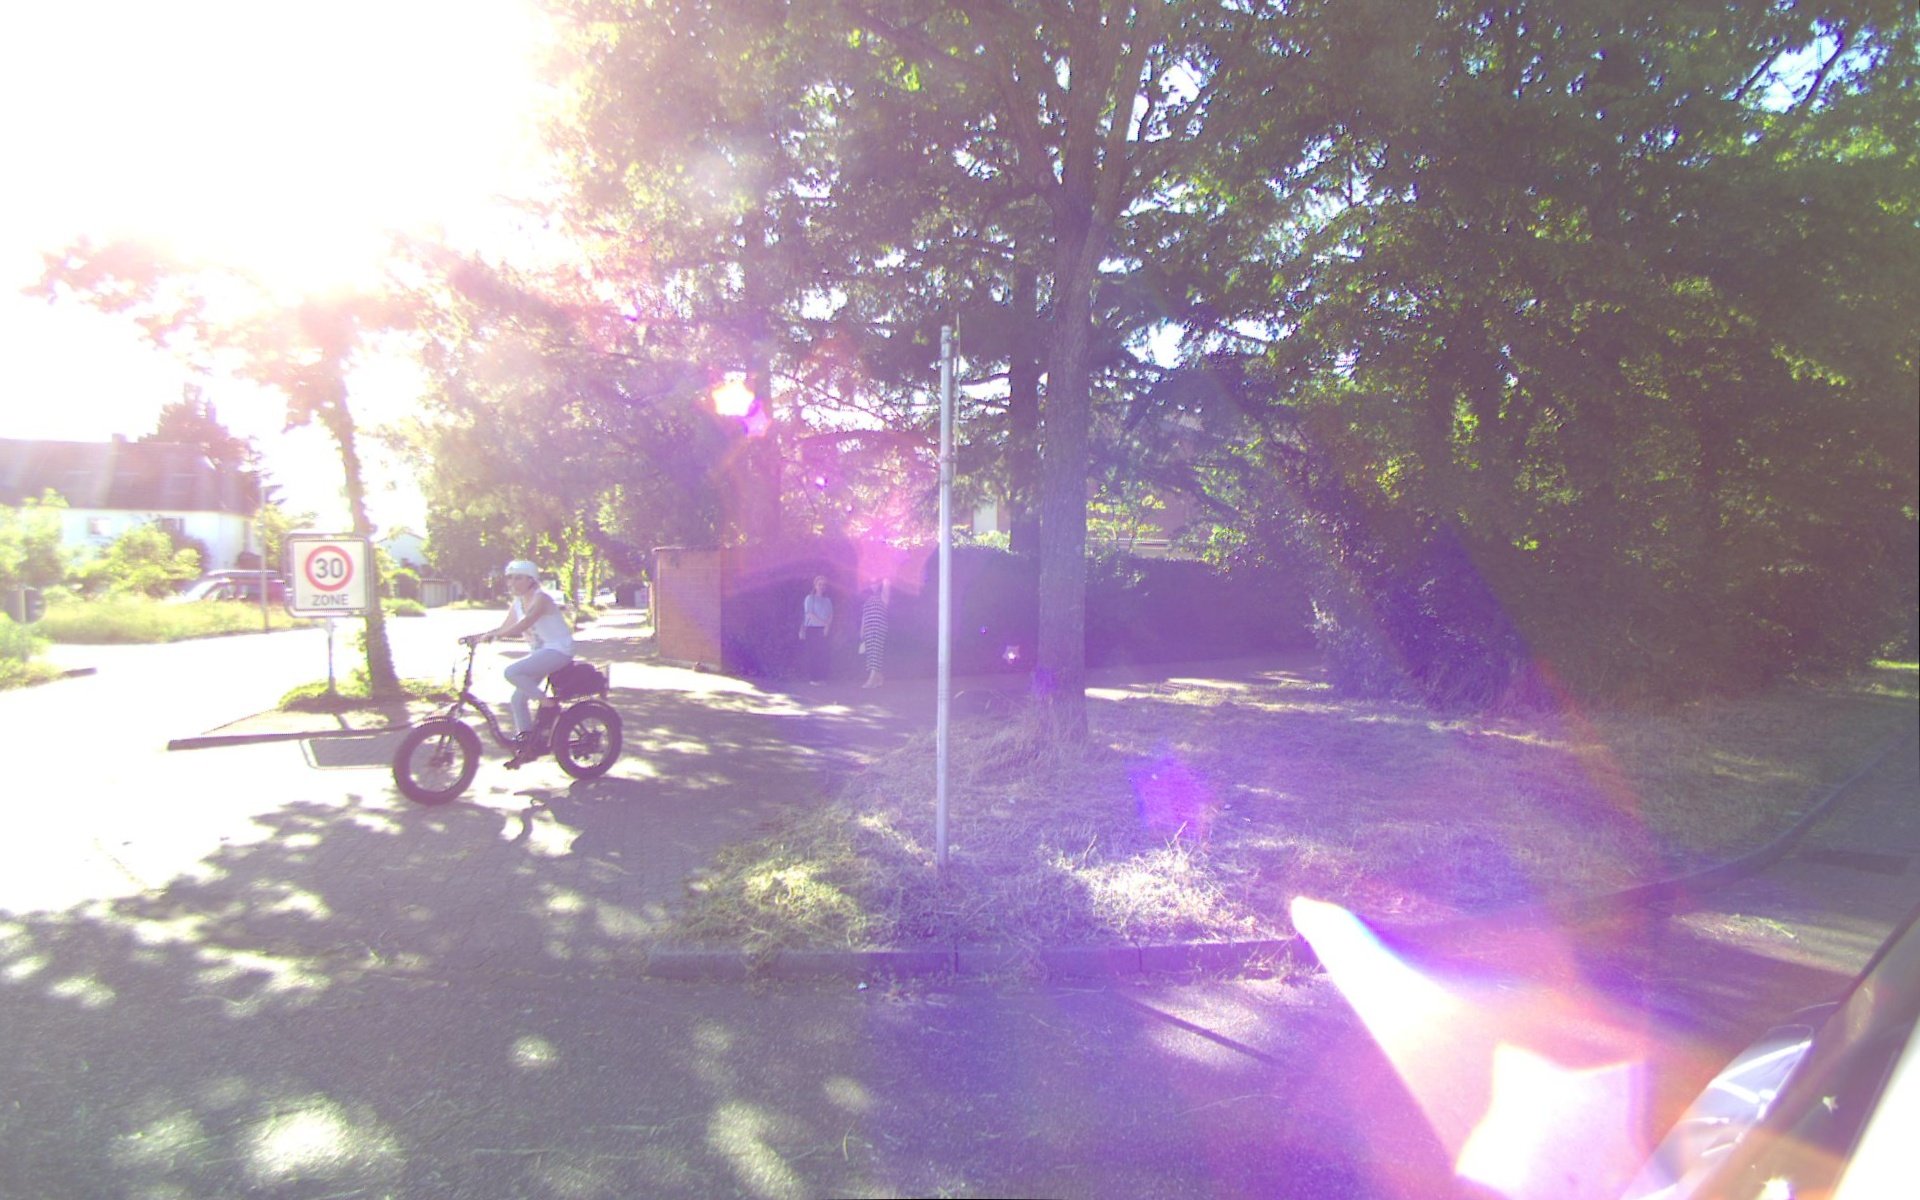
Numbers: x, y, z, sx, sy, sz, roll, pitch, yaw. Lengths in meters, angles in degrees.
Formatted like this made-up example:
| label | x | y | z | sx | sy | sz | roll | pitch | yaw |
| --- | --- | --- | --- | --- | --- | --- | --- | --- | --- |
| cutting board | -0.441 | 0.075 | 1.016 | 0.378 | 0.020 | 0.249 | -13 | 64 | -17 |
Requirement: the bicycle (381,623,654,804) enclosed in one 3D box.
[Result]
| label | x | y | z | sx | sy | sz | roll | pitch | yaw |
| --- | --- | --- | --- | --- | --- | --- | --- | --- | --- |
| bicycle | -3.265 | 0.781 | 7.636 | 0.456 | 1.159 | 1.869 | 1 | 1 | 42 |

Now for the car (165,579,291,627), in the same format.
| label | x | y | z | sx | sy | sz | roll | pitch | yaw |
| --- | --- | --- | --- | --- | --- | --- | --- | --- | --- |
| car | -28.178 | 0.080 | 39.041 | 1.739 | 1.738 | 3.602 | 1 | 1 | 37 |

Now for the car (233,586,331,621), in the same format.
| label | x | y | z | sx | sy | sz | roll | pitch | yaw |
| --- | --- | --- | --- | --- | --- | --- | --- | --- | --- |
| car | -29.873 | 0.116 | 44.645 | 3.472 | 1.434 | 1.679 | -1 | 1 | -39 |

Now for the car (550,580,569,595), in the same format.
| label | x | y | z | sx | sy | sz | roll | pitch | yaw |
| --- | --- | --- | --- | --- | --- | --- | --- | --- | --- |
| car | -50.739 | -1.653 | 128.298 | 1.958 | 1.838 | 4.009 | 0 | 1 | -16 |

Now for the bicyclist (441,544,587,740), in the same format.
| label | x | y | z | sx | sy | sz | roll | pitch | yaw |
| --- | --- | --- | --- | --- | --- | --- | --- | --- | --- |
| bicyclist | -3.328 | 0.280 | 7.567 | 0.636 | 1.364 | 0.825 | 1 | 1 | 43 |

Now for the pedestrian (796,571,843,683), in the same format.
| label | x | y | z | sx | sy | sz | roll | pitch | yaw |
| --- | --- | --- | --- | --- | --- | --- | --- | --- | --- |
| pedestrian | -1.979 | 0.362 | 14.249 | 0.529 | 1.539 | 0.395 | -1 | 1 | -41 |

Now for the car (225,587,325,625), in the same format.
| label | x | y | z | sx | sy | sz | roll | pitch | yaw |
| --- | --- | --- | --- | --- | --- | --- | --- | --- | --- |
| car | -28.571 | 0.218 | 42.227 | 3.334 | 1.459 | 1.614 | -1 | 1 | -39 |

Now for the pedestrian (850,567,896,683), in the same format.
| label | x | y | z | sx | sy | sz | roll | pitch | yaw |
| --- | --- | --- | --- | --- | --- | --- | --- | --- | --- |
| pedestrian | -1.218 | 0.338 | 14.209 | 0.392 | 1.580 | 0.533 | 1 | 1 | 28 |

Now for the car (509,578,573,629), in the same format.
| label | x | y | z | sx | sy | sz | roll | pitch | yaw |
| --- | --- | --- | --- | --- | --- | --- | --- | --- | --- |
| car | -14.573 | 0.065 | 35.235 | 1.958 | 1.679 | 4.008 | 0 | 1 | -22 |
